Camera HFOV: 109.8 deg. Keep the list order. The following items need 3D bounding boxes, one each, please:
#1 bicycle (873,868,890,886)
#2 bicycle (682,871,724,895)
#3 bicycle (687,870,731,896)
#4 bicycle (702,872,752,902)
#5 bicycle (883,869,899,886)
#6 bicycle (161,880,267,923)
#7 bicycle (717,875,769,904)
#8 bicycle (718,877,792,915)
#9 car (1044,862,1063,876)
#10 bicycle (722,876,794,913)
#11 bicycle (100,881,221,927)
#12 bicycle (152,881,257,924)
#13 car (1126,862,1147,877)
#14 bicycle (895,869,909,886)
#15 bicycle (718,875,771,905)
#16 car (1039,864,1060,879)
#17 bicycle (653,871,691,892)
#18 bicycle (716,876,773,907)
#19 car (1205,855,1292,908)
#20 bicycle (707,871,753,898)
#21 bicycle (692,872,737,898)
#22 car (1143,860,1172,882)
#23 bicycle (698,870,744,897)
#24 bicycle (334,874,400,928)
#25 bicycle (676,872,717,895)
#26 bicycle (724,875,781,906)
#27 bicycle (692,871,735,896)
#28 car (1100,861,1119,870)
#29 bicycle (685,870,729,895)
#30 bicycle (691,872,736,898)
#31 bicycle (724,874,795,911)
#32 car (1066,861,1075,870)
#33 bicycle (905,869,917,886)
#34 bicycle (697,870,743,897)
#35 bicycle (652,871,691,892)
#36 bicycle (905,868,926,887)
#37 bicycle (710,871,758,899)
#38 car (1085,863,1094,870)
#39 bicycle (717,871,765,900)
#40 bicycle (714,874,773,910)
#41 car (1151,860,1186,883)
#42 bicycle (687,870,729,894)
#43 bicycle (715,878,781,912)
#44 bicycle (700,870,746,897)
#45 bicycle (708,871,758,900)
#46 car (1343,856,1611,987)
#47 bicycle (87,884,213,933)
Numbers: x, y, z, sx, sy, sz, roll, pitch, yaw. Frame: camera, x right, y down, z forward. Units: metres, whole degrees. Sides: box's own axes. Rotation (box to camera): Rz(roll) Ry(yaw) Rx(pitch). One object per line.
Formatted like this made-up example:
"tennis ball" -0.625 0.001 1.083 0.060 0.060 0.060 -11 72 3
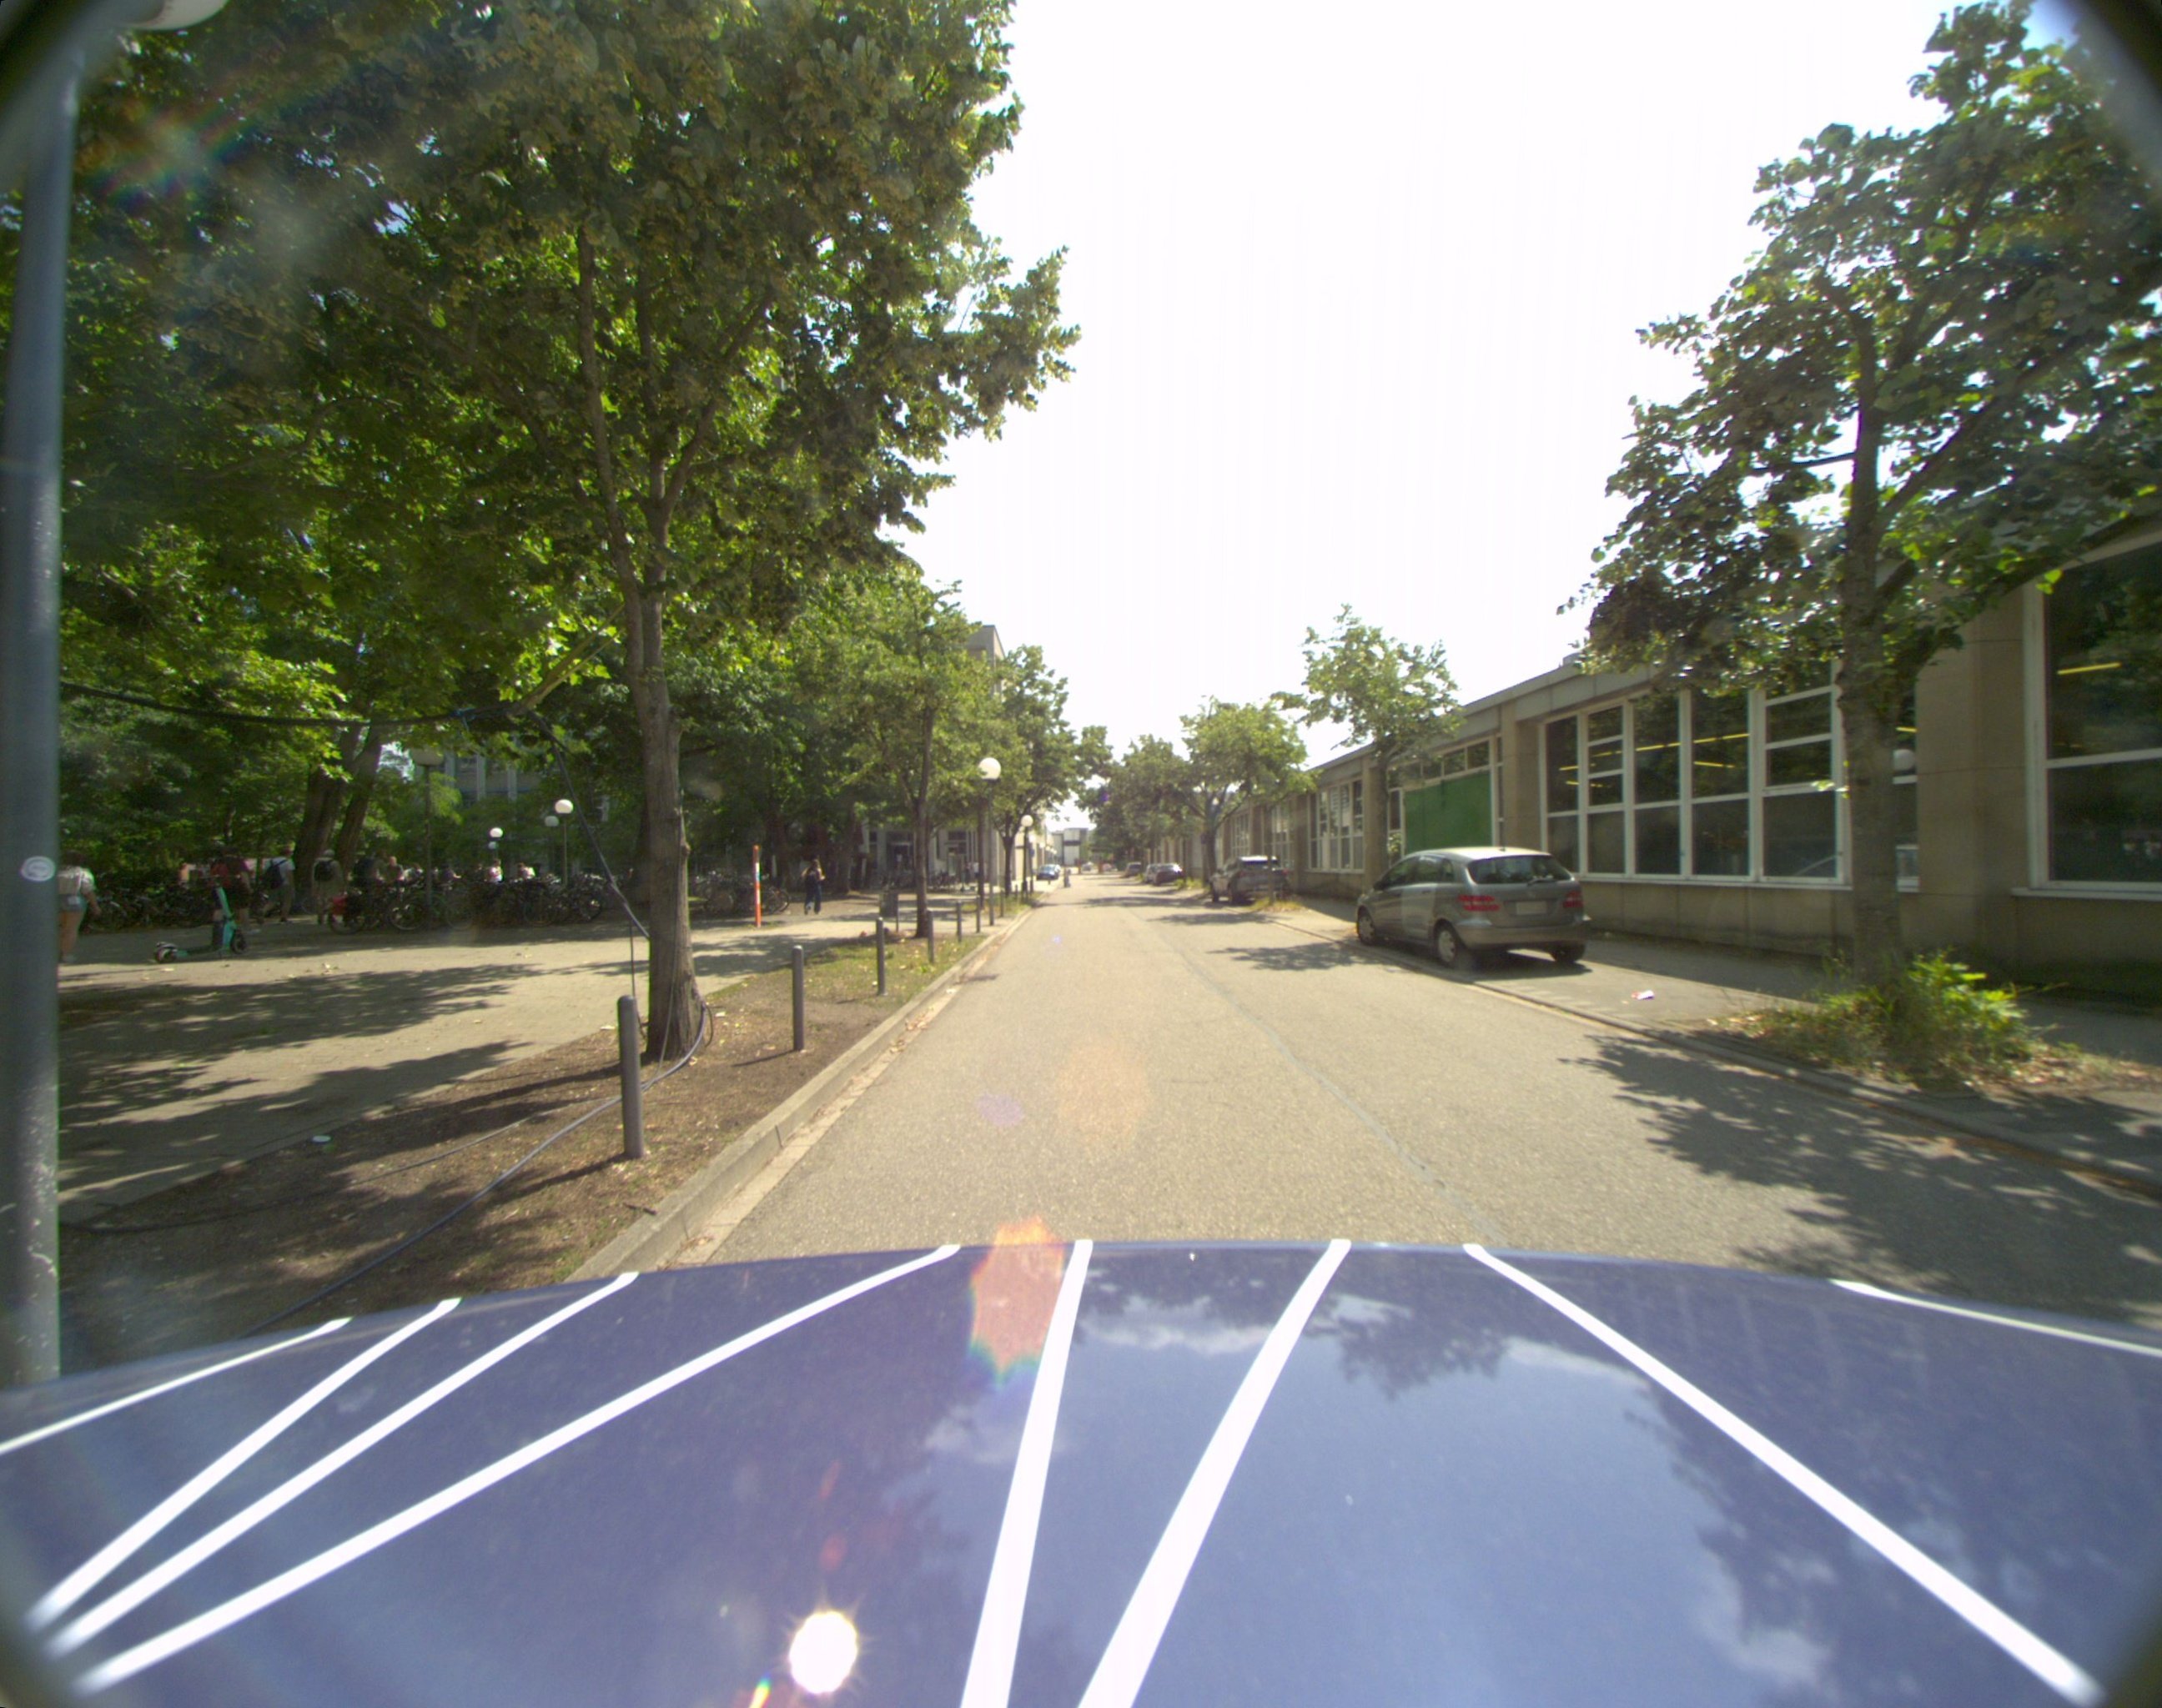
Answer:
"bicycle" -12.451 1.449 47.469 0.481 1.079 1.698 1 -2 5
"bicycle" -19.068 1.448 38.335 1.849 1.163 0.412 0 -1 -39
"bicycle" -17.639 1.362 36.051 1.849 1.163 0.352 0 -1 -37
"bicycle" -14.409 1.341 30.914 1.796 1.163 0.401 0 -1 -34
"bicycle" -11.958 1.474 47.755 0.481 1.079 1.516 1 -2 5
"bicycle" -22.095 1.199 19.397 1.755 1.033 0.478 1 0 -21
"bicycle" -12.958 1.353 29.155 1.796 1.063 0.425 0 -1 -30
"bicycle" -9.532 1.213 22.273 1.950 1.076 0.404 0 0 -12
"car" -2.872 1.628 79.451 1.843 1.389 3.878 1 -1 0
"bicycle" -9.629 1.207 22.693 1.950 1.076 0.404 0 0 -12
"bicycle" -21.952 1.174 18.156 1.834 1.033 0.478 1 0 -21
"bicycle" -21.964 1.196 19.062 1.755 1.033 0.347 1 0 -21
"car" 5.687 1.613 78.472 1.803 1.440 3.676 -3 0 -1
"bicycle" -11.197 1.473 47.633 0.460 1.079 1.474 1 -2 1
"bicycle" -12.741 1.352 28.773 1.796 1.063 0.425 0 -1 -30
"car" -3.045 1.697 73.746 1.843 1.389 3.878 1 -1 0
"bicycle" -22.678 1.515 42.142 1.849 1.163 0.345 0 -1 -45
"bicycle" -11.825 1.298 26.735 1.800 1.022 0.439 0 -1 -32
"car" 5.835 0.905 27.013 1.827 1.623 4.516 -3 0 -3
"bicycle" -15.440 1.323 33.432 0.344 1.163 1.849 -1 -1 43
"bicycle" -16.939 1.420 35.119 1.849 1.163 0.352 0 -1 -37
"car" 5.636 1.222 56.337 1.634 1.440 3.752 -3 0 -1
"bicycle" -16.238 1.332 34.319 1.849 1.163 0.344 0 -1 -37
"bicycle" -17.669 1.130 18.839 0.532 1.245 1.734 1 -1 -20
"bicycle" -19.926 1.517 39.408 1.849 1.163 0.412 0 -1 -39
"bicycle" -11.417 1.258 26.434 1.742 1.046 0.493 0 -1 -36
"bicycle" -18.034 1.426 37.301 1.849 1.163 0.352 0 -1 -37
"car" 5.535 2.268 148.360 3.674 1.440 1.804 -3 0 -2
"bicycle" -17.854 1.361 36.337 1.849 1.163 0.352 0 -1 -37
"bicycle" -17.130 1.421 35.443 1.849 1.163 0.352 0 -1 -37
"bicycle" -9.865 1.177 23.364 1.950 1.076 0.404 0 0 -12
"car" -2.468 2.743 183.313 1.998 2.001 4.001 2 -1 0
"bicycle" -10.724 1.483 47.999 0.460 1.079 1.440 1 -2 -2
"bicycle" -16.438 1.331 34.591 1.849 1.163 0.344 0 -1 -37
"bicycle" -22.531 1.499 41.798 1.849 1.163 0.345 0 -1 -45
"bicycle" -10.292 1.458 47.353 0.491 1.134 1.529 0 -2 19
"bicycle" -14.782 1.299 32.385 1.848 1.163 0.344 0 -1 -34
"car" 1.949 2.771 168.577 1.803 1.440 3.676 -3 0 -1
"bicycle" -14.129 1.287 31.591 1.796 1.163 0.401 0 -1 -34
"bicycle" -11.372 1.261 25.609 1.742 1.148 0.493 0 -1 -36
"car" 5.802 1.161 50.602 1.730 1.426 4.290 -3 -1 -1
"bicycle" -18.594 1.391 37.928 1.849 1.163 0.387 0 -1 -39
"bicycle" -10.592 1.299 24.221 1.916 1.053 0.325 0 0 -23
"bicycle" -16.033 1.324 34.040 1.849 1.163 0.344 0 -1 -37
"bicycle" -14.659 1.312 32.020 1.848 1.163 0.401 0 -1 -34
"car" 5.633 0.851 11.494 1.762 1.547 4.113 -3 0 -2
"bicycle" -20.632 1.194 16.876 1.786 1.033 0.434 1 0 -21
